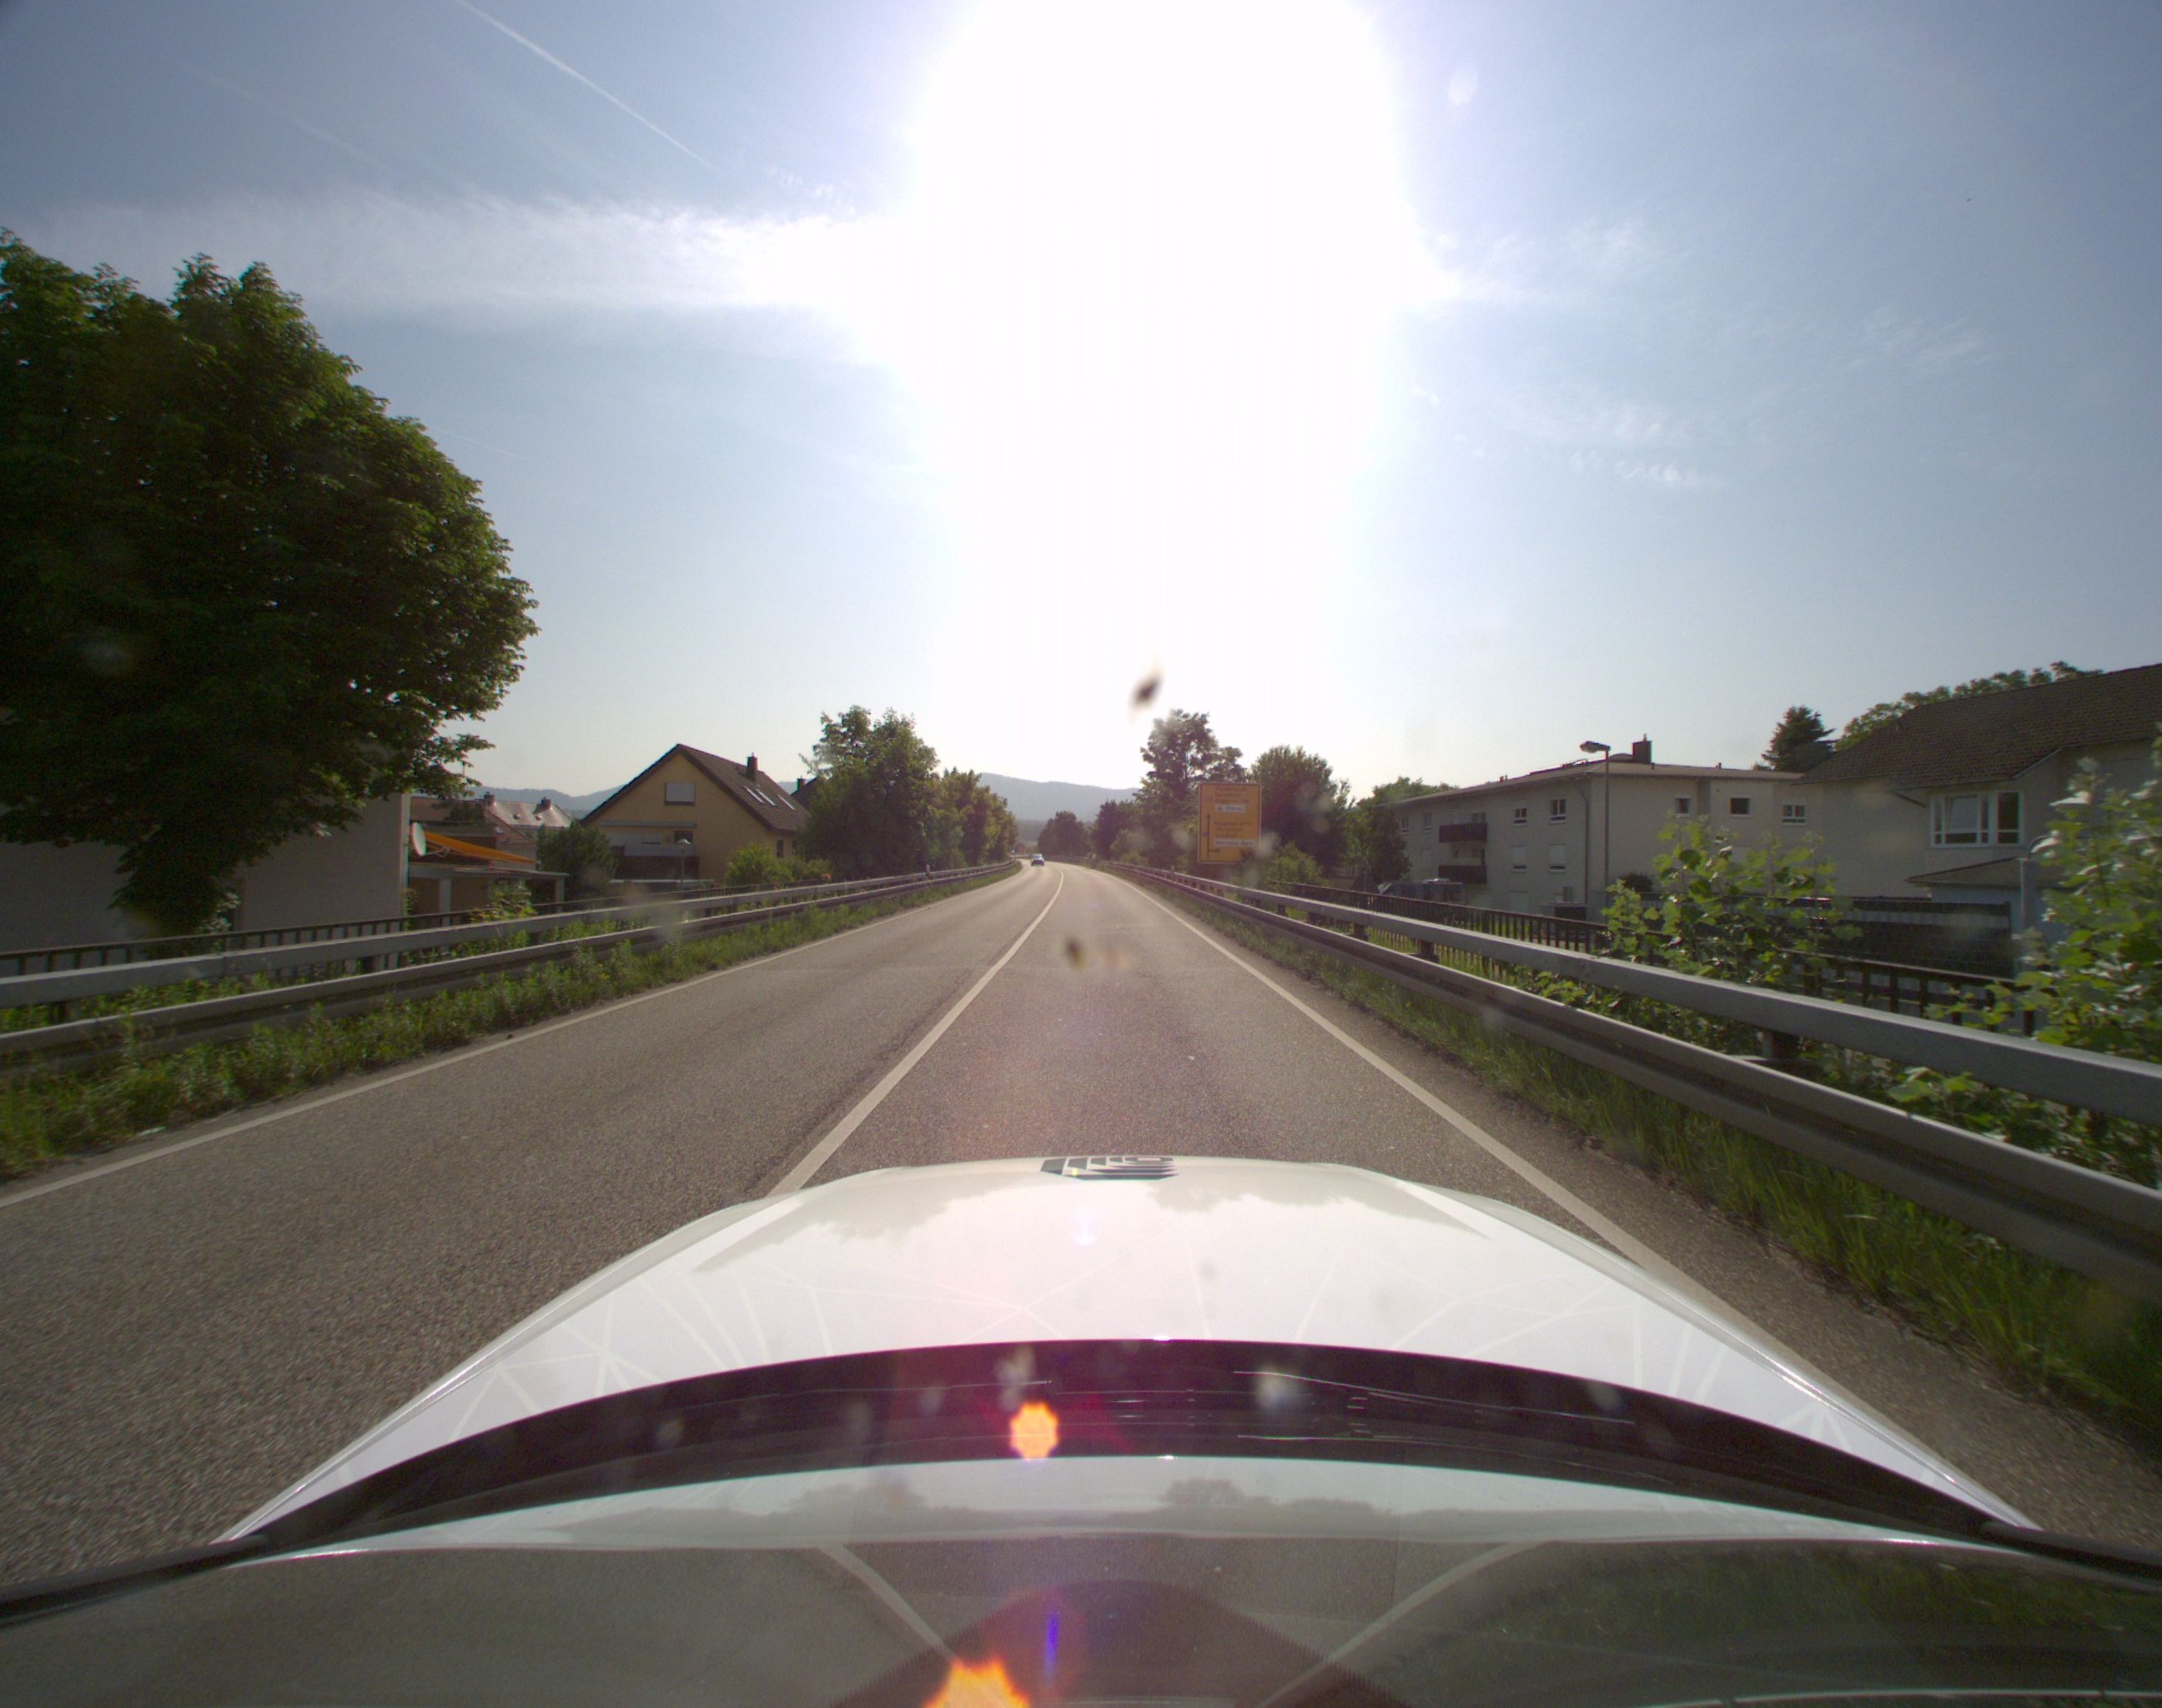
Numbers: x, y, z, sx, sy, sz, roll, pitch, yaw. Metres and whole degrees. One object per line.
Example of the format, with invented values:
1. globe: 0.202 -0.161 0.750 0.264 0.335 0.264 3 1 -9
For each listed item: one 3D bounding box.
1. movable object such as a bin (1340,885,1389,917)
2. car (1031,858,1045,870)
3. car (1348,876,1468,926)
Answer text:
1. movable object such as a bin: 19.068 3.152 54.855 2.775 2.014 1.587 2 0 0
2. car: -5.953 1.421 113.607 1.803 1.561 3.989 -2 -1 -2
3. car: 18.830 2.710 47.168 6.053 2.688 2.312 1 -4 0
